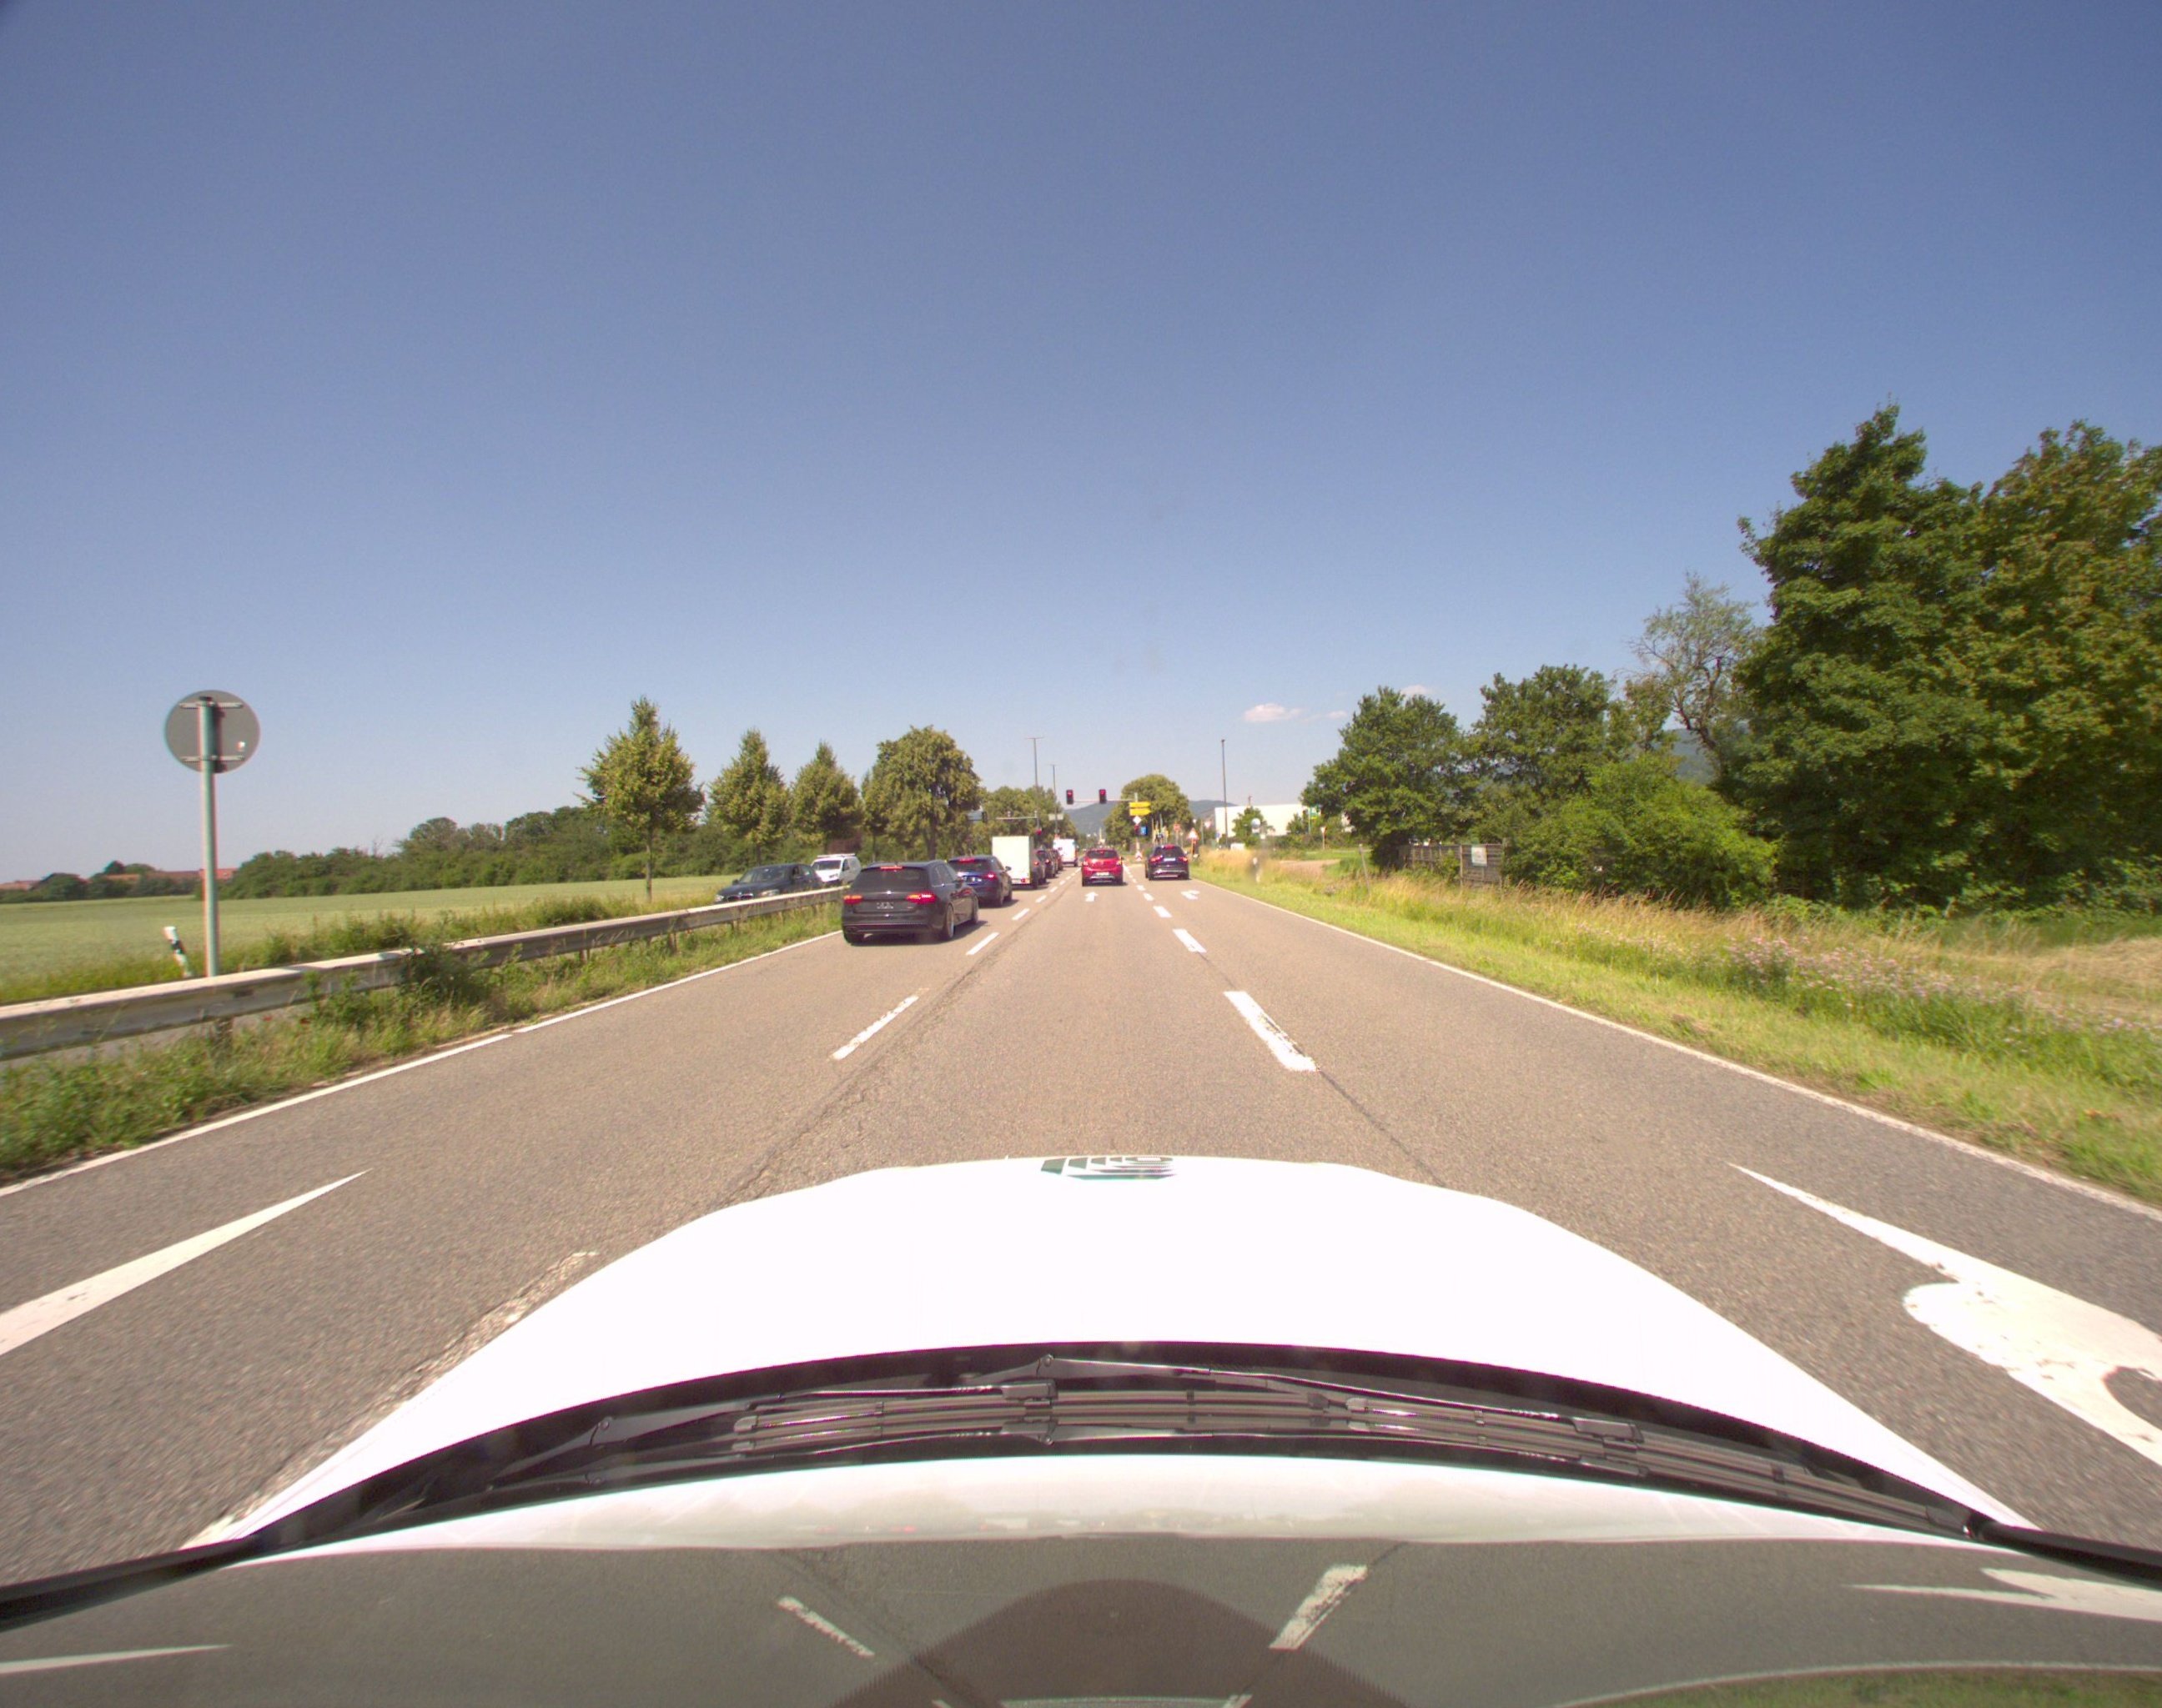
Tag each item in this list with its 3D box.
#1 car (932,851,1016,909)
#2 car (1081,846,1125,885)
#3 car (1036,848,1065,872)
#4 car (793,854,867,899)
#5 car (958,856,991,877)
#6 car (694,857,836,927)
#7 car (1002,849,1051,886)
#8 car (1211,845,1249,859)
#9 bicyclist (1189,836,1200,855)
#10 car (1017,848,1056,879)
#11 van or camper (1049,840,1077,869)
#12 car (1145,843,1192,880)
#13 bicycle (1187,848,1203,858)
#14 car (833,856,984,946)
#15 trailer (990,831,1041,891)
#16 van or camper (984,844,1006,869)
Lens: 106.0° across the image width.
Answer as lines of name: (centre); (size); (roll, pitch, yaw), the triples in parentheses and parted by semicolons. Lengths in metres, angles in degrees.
car: (-2.944, 0.664, 23.162); (1.711, 1.465, 4.031); (-1, 0, 1)
car: (0.978, 0.458, 34.668); (1.742, 1.575, 3.679); (0, 0, 3)
car: (-2.119, 0.431, 57.725); (1.717, 1.600, 3.957); (-1, 0, 2)
car: (-12.276, 1.046, 40.155); (1.986, 1.951, 4.831); (-3, 0, 1)
car: (-8.408, 0.952, 64.682); (1.872, 1.454, 4.505); (-3, 0, 1)
car: (-8.467, 0.933, 22.315); (1.986, 1.603, 4.481); (-3, 0, 1)
car: (-2.387, 0.568, 36.668); (1.739, 1.503, 4.364); (-1, 0, 1)
car: (16.112, -0.183, 88.438); (3.964, 1.327, 1.811); (-3, 0, 8)
bicyclist: (10.826, -0.778, 77.605); (0.802, 1.771, 0.806); (-3, 0, -9)
car: (-2.324, 0.491, 43.627); (1.716, 1.575, 3.895); (-1, 0, 2)
van or camper: (-1.497, 0.011, 68.148); (2.172, 2.302, 4.825); (-1, 0, -1)
car: (4.088, 0.308, 38.724); (1.985, 1.616, 4.343); (-1, 0, 3)
bicycle: (10.848, -0.088, 77.632); (0.761, 0.915, 2.771); (-2, 0, -9)
car: (-3.055, 0.770, 15.360); (1.734, 1.380, 4.457); (-1, 0, 2)
trailer: (-2.553, 0.262, 32.528); (1.495, 2.173, 4.175); (-2, 0, 1)
van or camper: (-11.555, 0.300, 110.166); (2.255, 3.099, 5.695); (-2, 0, 0)
